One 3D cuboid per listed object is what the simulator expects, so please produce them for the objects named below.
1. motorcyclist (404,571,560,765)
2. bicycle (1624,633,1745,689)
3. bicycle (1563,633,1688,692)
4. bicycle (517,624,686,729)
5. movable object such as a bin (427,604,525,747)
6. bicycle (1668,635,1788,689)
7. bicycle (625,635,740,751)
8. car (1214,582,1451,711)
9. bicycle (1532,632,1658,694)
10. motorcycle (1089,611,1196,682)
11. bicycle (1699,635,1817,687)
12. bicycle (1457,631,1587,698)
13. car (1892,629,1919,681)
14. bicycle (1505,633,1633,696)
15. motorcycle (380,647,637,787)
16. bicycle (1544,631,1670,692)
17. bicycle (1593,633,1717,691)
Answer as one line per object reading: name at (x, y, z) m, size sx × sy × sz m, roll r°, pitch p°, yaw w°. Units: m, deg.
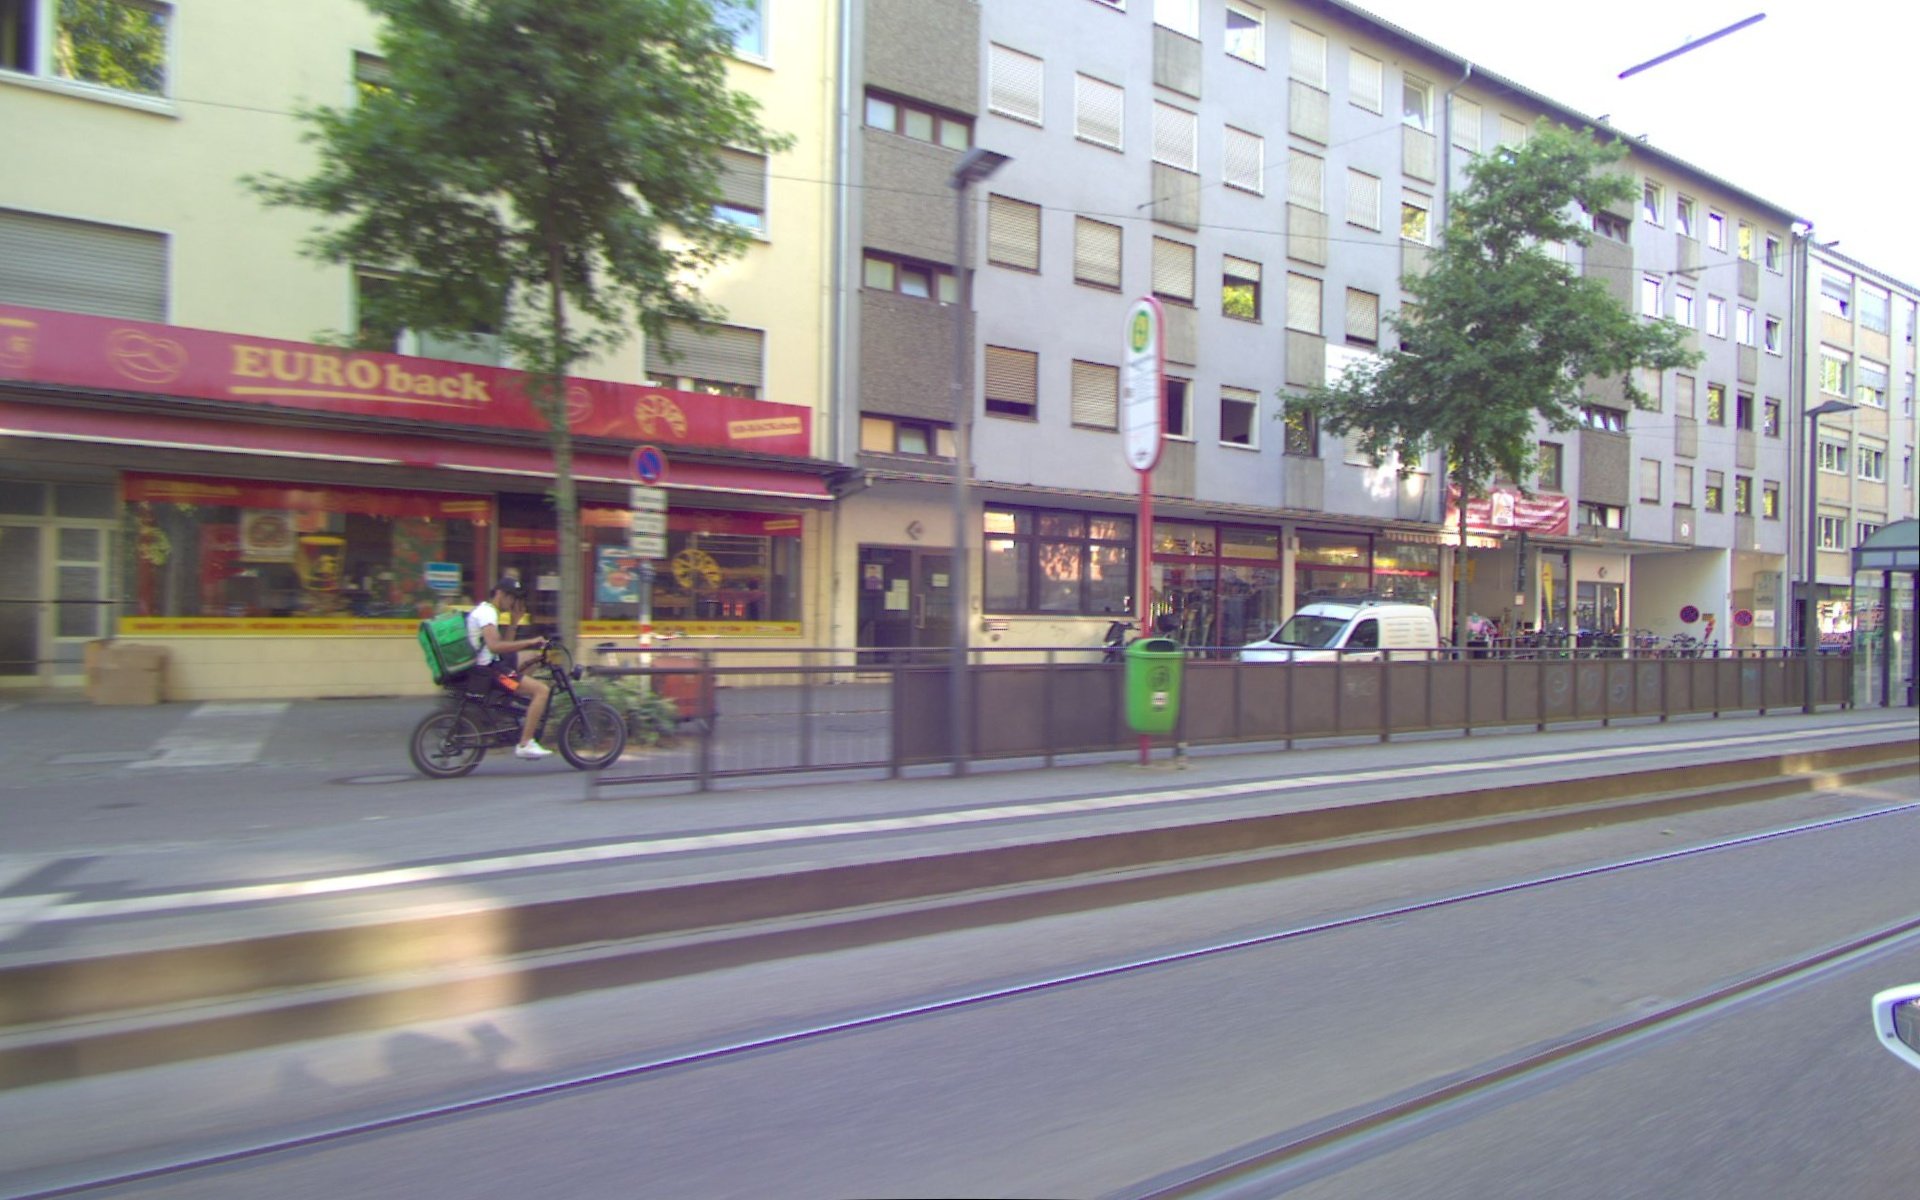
motorcyclist at (-3.878, 0.538, 8.159) m, size 1.091 × 1.468 × 0.593 m, roll 1°, pitch -3°, yaw -30°
bicycle at (17.212, 1.431, 23.929) m, size 0.628 × 1.088 × 2.243 m, roll 1°, pitch 2°, yaw -28°
bicycle at (14.718, 1.356, 22.294) m, size 0.628 × 1.088 × 2.243 m, roll 1°, pitch 2°, yaw -28°
bicycle at (-4.194, 0.869, 11.798) m, size 1.781 × 1.122 × 0.495 m, roll 1°, pitch 3°, yaw -33°
movable object such as a bin at (-5.207, 0.768, 10.773) m, size 0.775 × 1.366 × 1.162 m, roll 1°, pitch 3°, yaw -34°
bicycle at (18.840, 1.490, 24.720) m, size 0.628 × 1.088 × 2.243 m, roll 1°, pitch 2°, yaw -28°
bicycle at (-3.134, 0.990, 11.246) m, size 0.875 × 1.089 × 1.526 m, roll 1°, pitch 2°, yaw -30°
car at (6.394, 0.763, 17.150) m, size 3.953 × 1.966 × 1.680 m, roll 1°, pitch -1°, yaw -30°
bicycle at (13.661, 1.334, 21.697) m, size 0.628 × 1.088 × 2.243 m, roll 1°, pitch 2°, yaw -28°
motorcycle at (3.592, 0.901, 19.704) m, size 2.196 × 1.328 × 0.596 m, roll 1°, pitch -1°, yaw -31°
bicycle at (20.265, 1.532, 25.569) m, size 0.628 × 1.088 × 2.243 m, roll 1°, pitch 2°, yaw -28°
bicycle at (11.259, 1.263, 20.220) m, size 0.628 × 1.088 × 2.243 m, roll 1°, pitch 2°, yaw -28°
car at (31.104, 1.740, 31.521) m, size 3.953 × 1.569 × 1.585 m, roll 1°, pitch 1°, yaw -30°
bicycle at (12.683, 1.316, 21.007) m, size 0.628 × 1.088 × 2.243 m, roll 1°, pitch 2°, yaw -28°
motorcycle at (-3.673, 0.908, 8.251) m, size 1.855 × 1.046 × 0.592 m, roll 1°, pitch -3°, yaw -30°
bicycle at (14.143, 1.322, 22.038) m, size 0.628 × 1.088 × 2.243 m, roll 1°, pitch 2°, yaw -28°
bicycle at (15.798, 1.387, 22.920) m, size 0.628 × 1.088 × 2.243 m, roll 1°, pitch 2°, yaw -28°
